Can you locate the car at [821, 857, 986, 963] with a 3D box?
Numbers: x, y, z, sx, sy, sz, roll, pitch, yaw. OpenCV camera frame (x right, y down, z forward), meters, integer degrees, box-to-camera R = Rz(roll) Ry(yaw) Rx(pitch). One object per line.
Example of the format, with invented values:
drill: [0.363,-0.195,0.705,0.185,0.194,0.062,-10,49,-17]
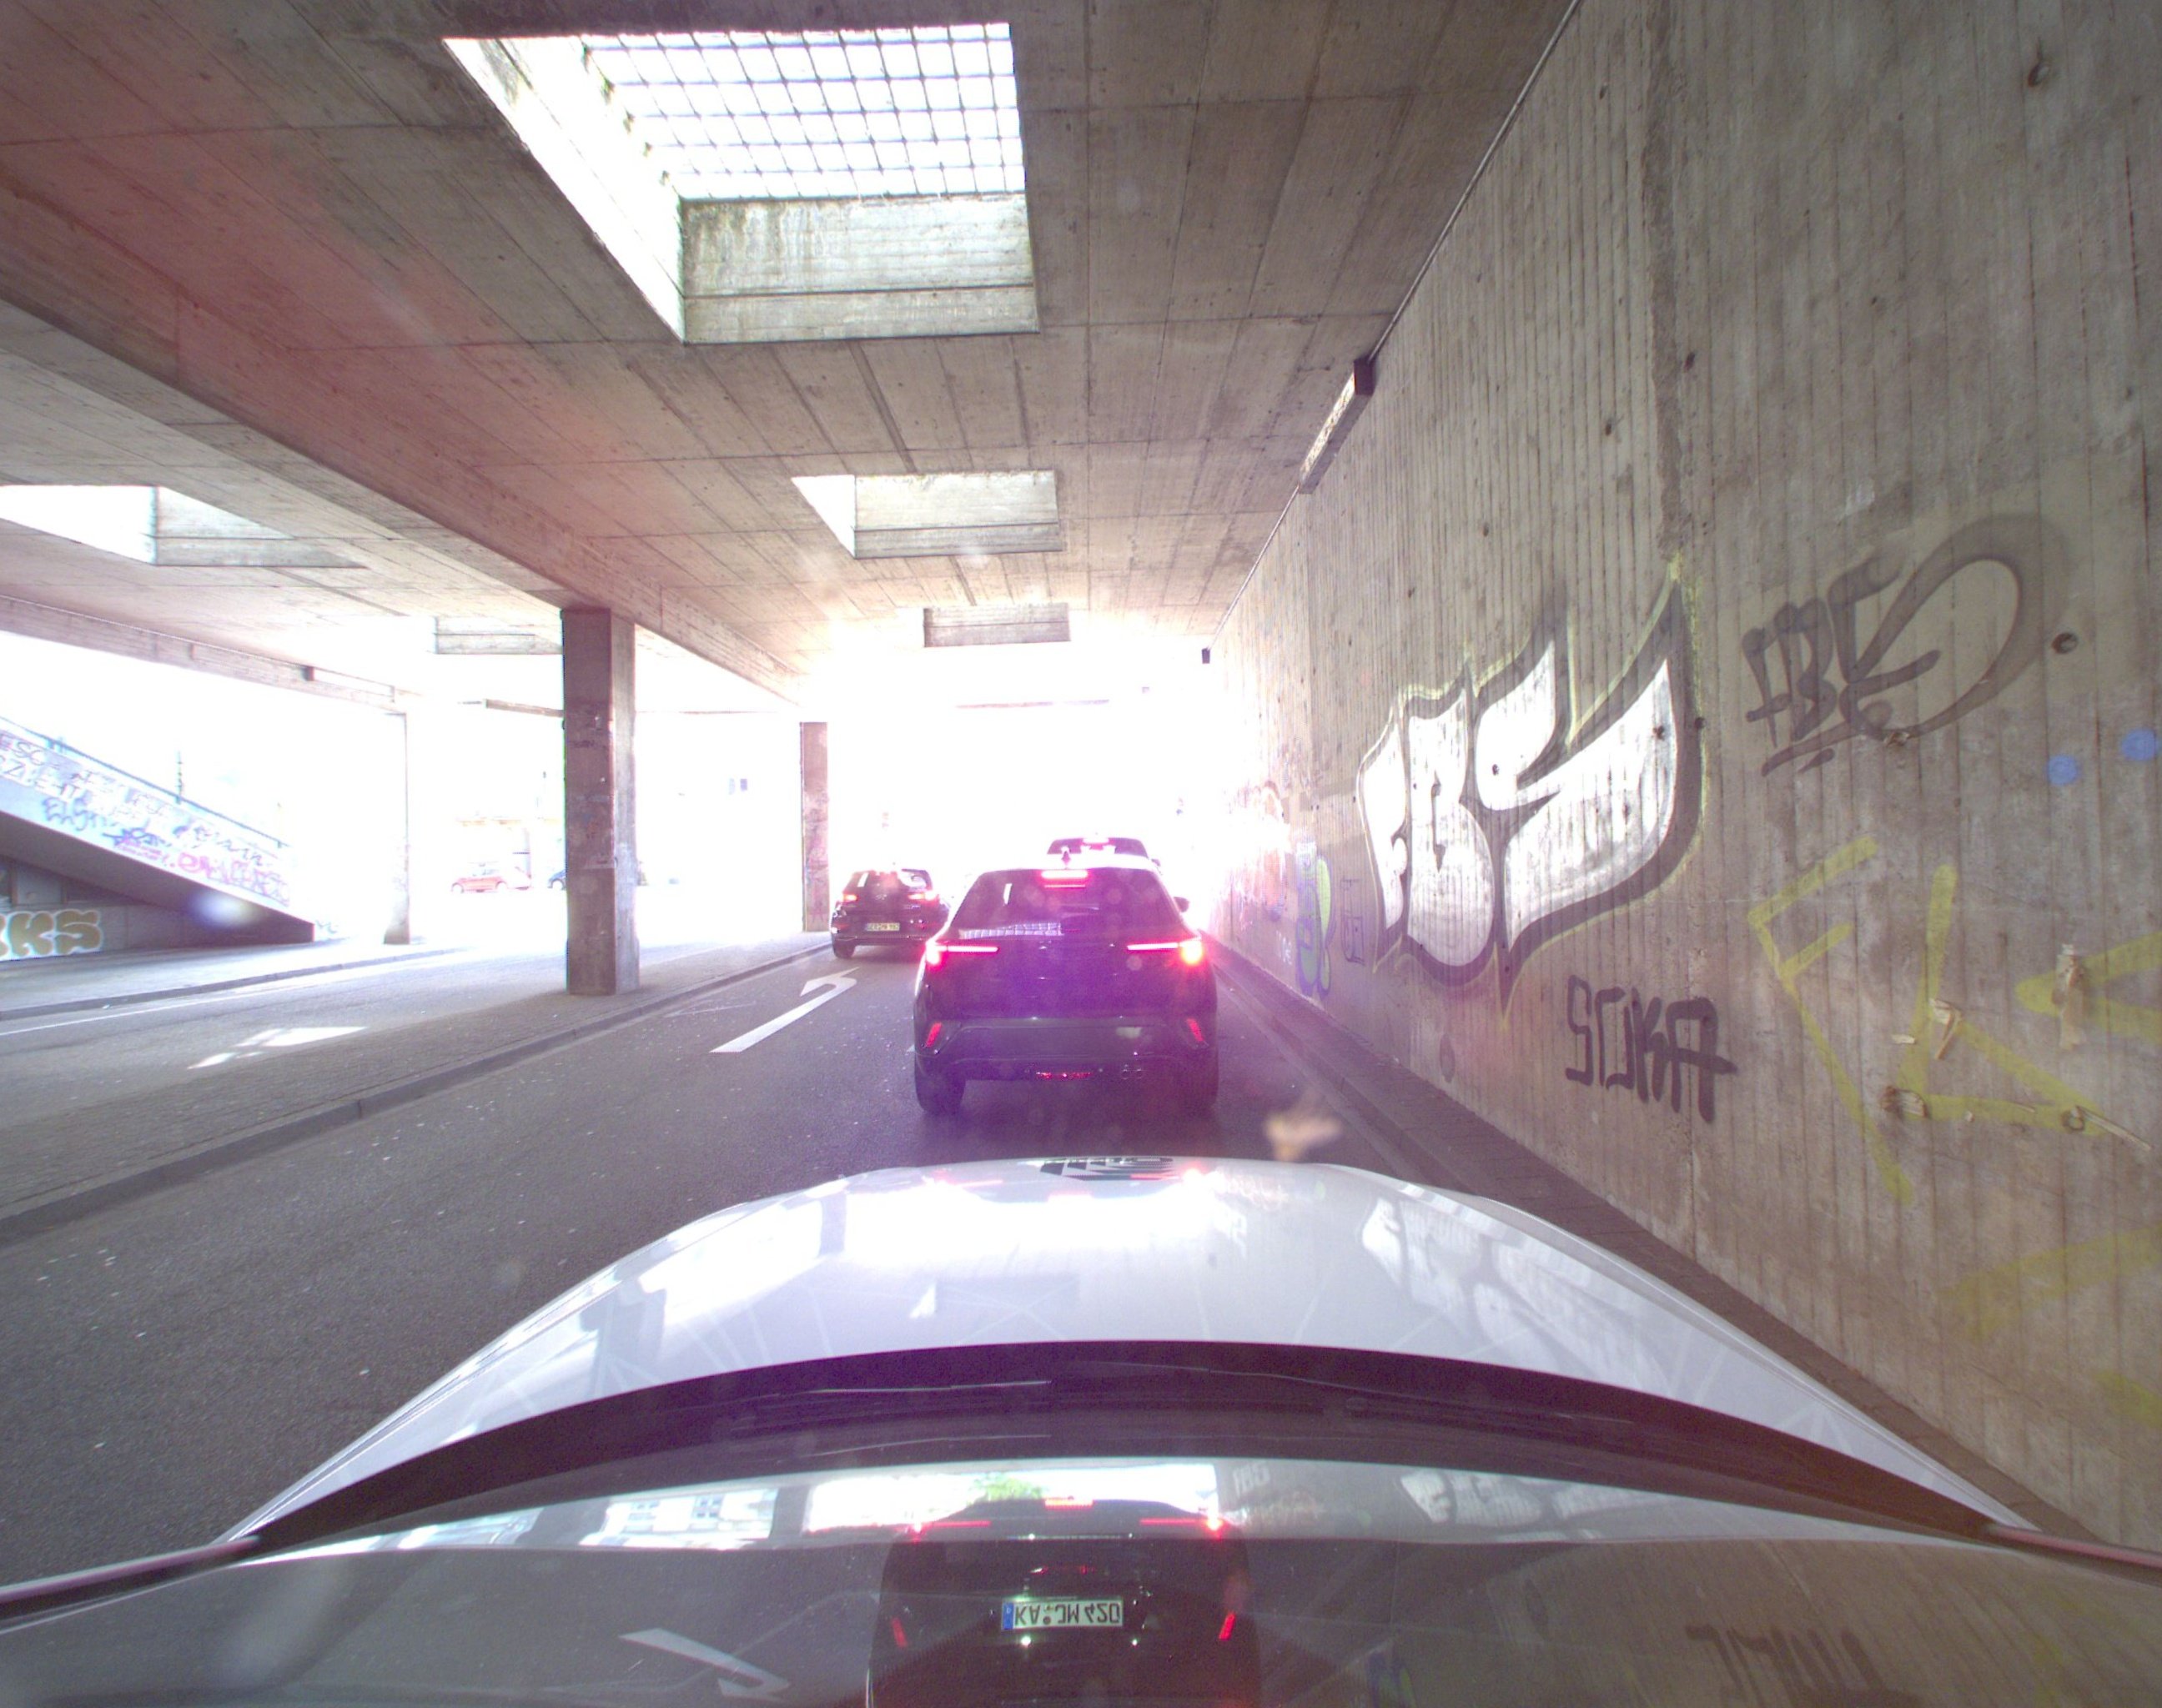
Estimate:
car: [-2.743,0.804,13.502,1.755,1.480,3.846,-1,0,2]

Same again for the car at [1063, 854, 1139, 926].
car: [0.497,0.766,19.401,1.603,1.513,4.055,-1,0,2]

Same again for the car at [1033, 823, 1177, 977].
car: [0.362,0.572,12.183,1.755,1.883,4.148,-1,0,2]

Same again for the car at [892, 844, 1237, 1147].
car: [-0.021,0.732,6.244,1.755,1.531,4.091,-1,0,2]

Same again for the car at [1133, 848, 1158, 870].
car: [4.966,0.382,62.271,1.745,1.667,3.950,0,-1,6]

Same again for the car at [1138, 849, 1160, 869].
car: [5.753,0.426,68.375,1.745,1.667,3.950,0,-1,6]

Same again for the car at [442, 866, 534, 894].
car: [-32.928,1.435,45.283,3.748,1.475,1.749,-1,-1,0]

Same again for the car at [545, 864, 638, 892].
car: [-27.172,1.314,45.306,4.096,1.475,1.737,-1,-1,0]

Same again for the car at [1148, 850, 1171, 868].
car: [7.442,0.484,76.991,1.742,1.667,3.956,0,-1,11]

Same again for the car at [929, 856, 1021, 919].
car: [-2.655,0.799,21.230,1.755,1.480,3.846,-1,0,2]
